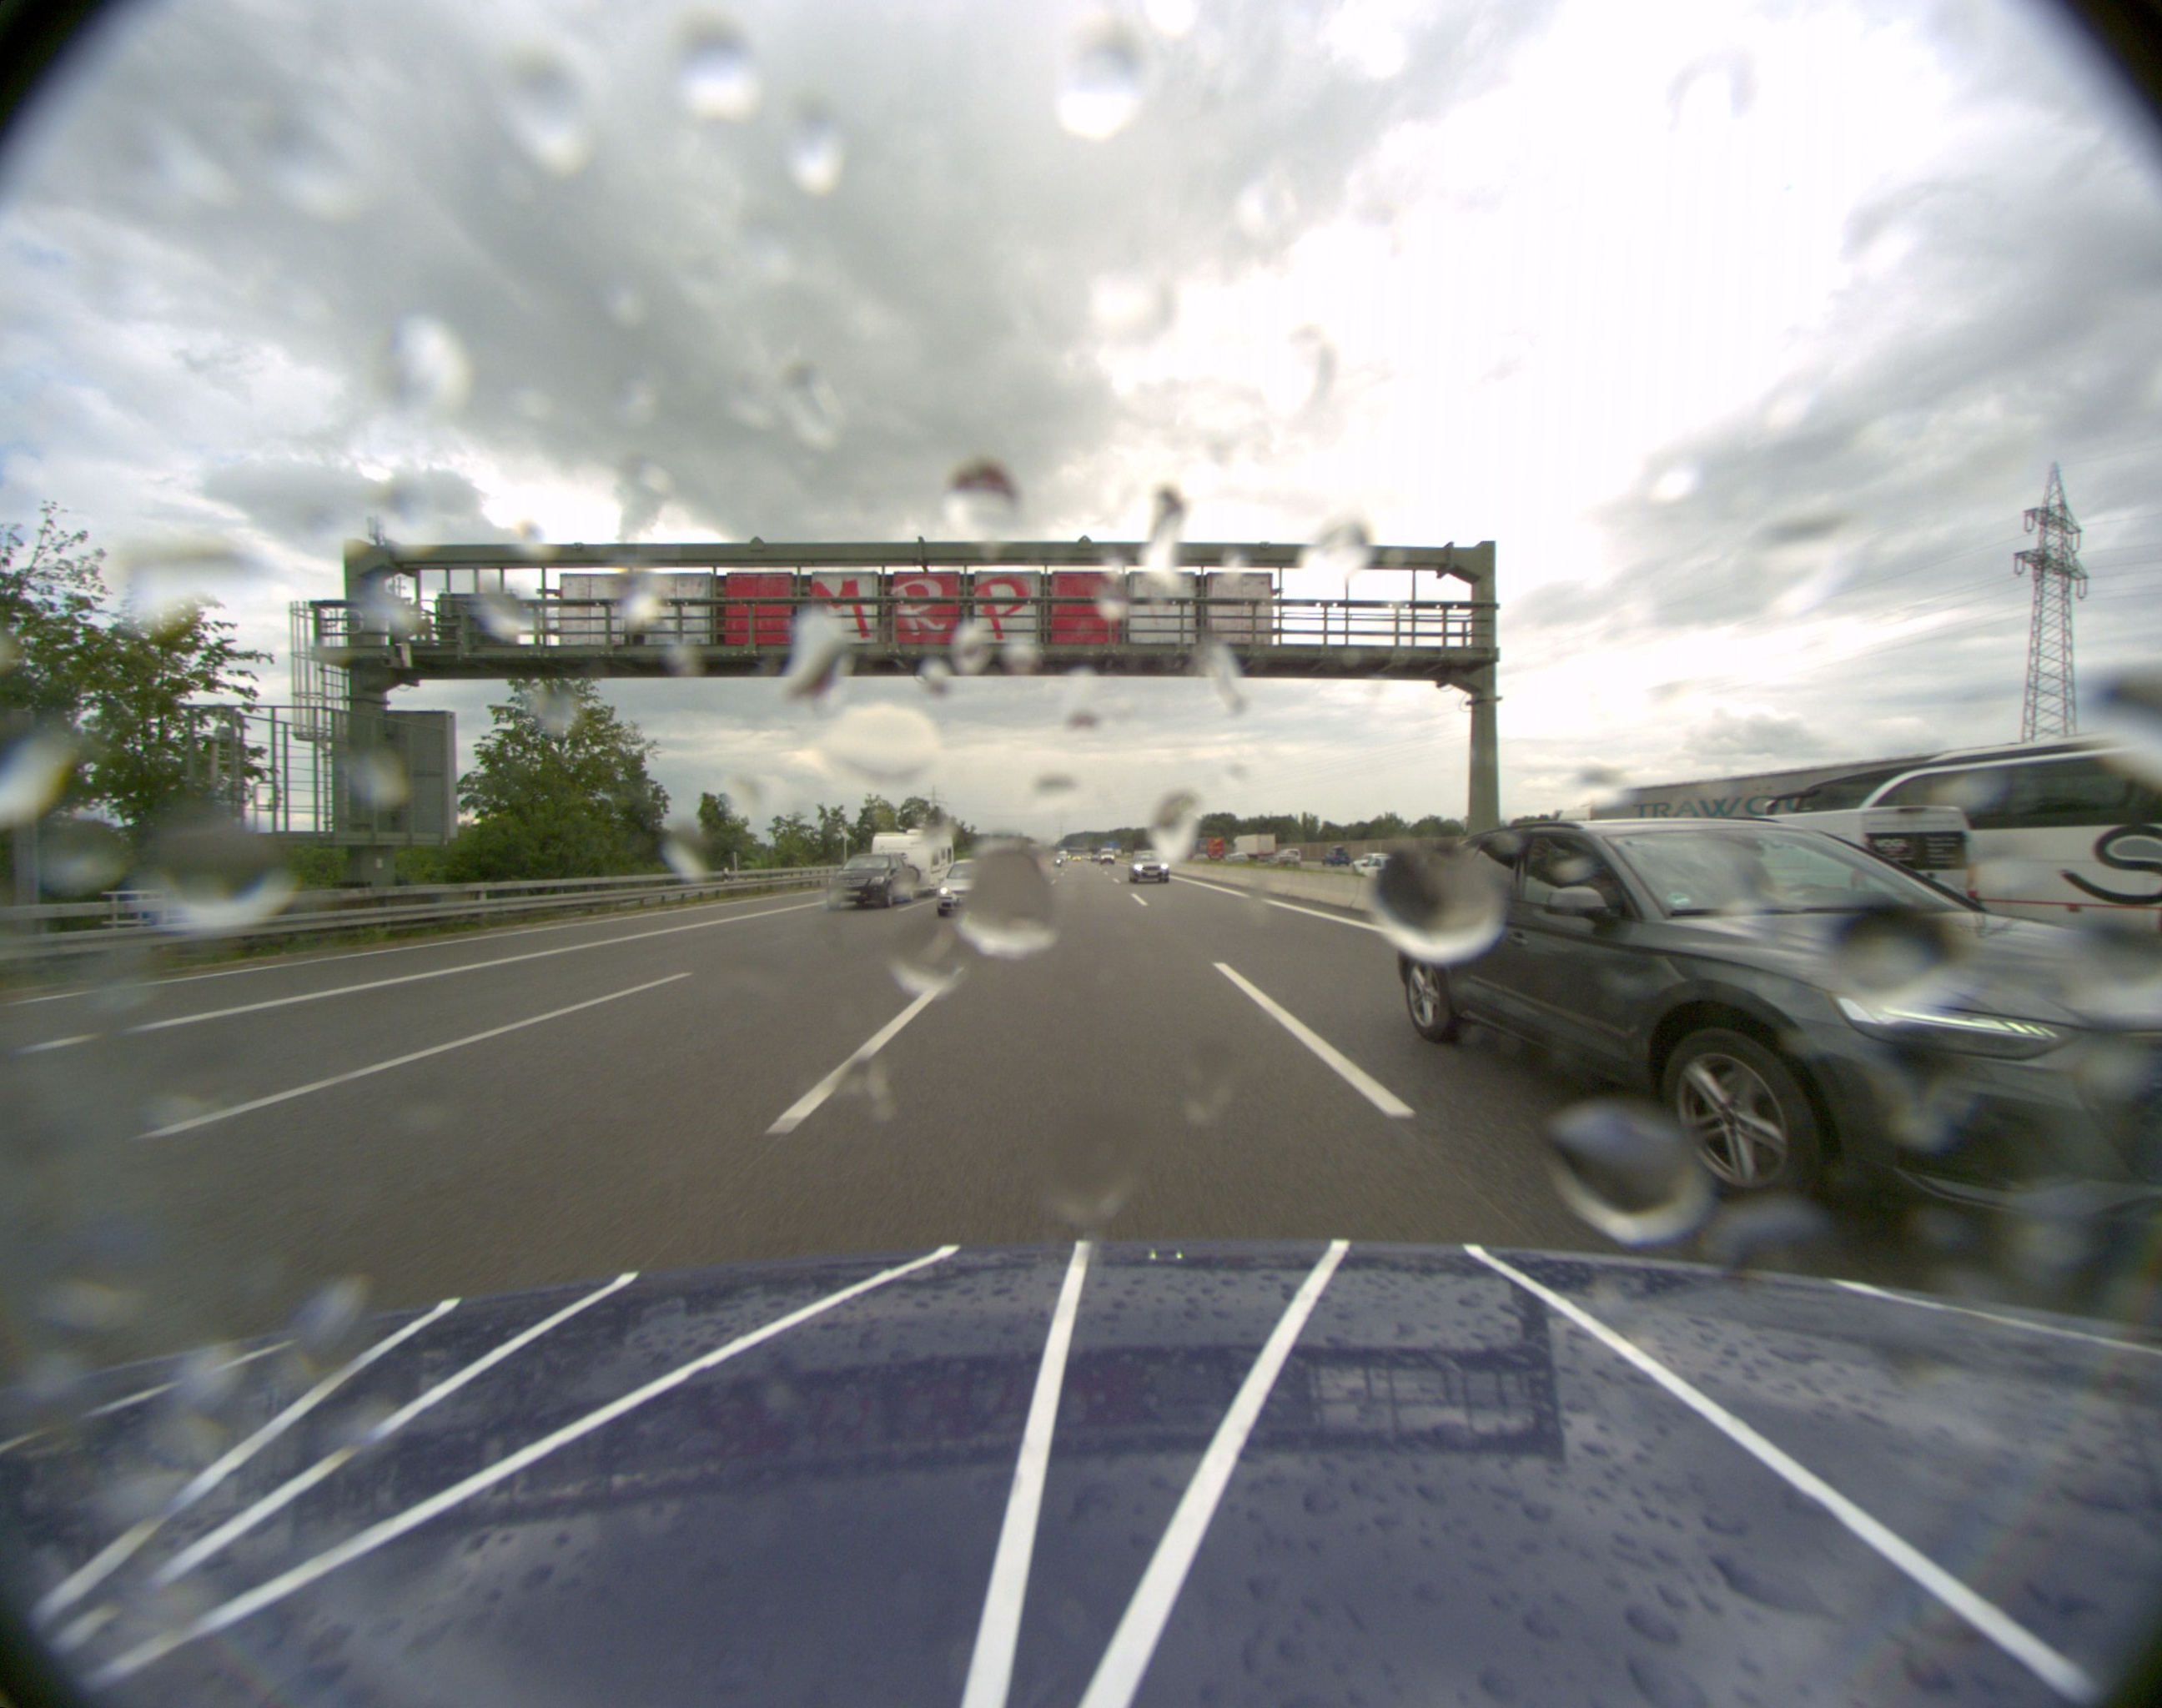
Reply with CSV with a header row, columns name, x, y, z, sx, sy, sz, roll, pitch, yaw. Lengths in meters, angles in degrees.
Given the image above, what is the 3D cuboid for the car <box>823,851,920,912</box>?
name,x,y,z,sx,sy,sz,roll,pitch,yaw
car,-6.808,0.822,25.196,1.925,1.766,4.502,-2,0,0

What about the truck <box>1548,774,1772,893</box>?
name,x,y,z,sx,sy,sz,roll,pitch,yaw
truck,21.883,-0.707,29.453,2.893,3.938,7.535,-2,0,0

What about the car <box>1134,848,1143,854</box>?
name,x,y,z,sx,sy,sz,roll,pitch,yaw
car,17.460,-0.942,230.759,2.286,1.956,6.086,-2,0,1

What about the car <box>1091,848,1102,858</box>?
name,x,y,z,sx,sy,sz,roll,pitch,yaw
car,3.200,-0.198,154.895,1.999,2.002,3.999,-2,0,-1

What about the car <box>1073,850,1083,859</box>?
name,x,y,z,sx,sy,sz,roll,pitch,yaw
car,-0.701,0.140,172.150,1.999,2.002,3.999,-2,0,-1

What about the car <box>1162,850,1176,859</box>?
name,x,y,z,sx,sy,sz,roll,pitch,yaw
car,15.092,0.047,130.047,1.792,1.524,4.564,-2,0,-1

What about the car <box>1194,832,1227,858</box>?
name,x,y,z,sx,sy,sz,roll,pitch,yaw
car,21.885,-1.423,129.445,2.990,4.100,14.393,-2,0,-1

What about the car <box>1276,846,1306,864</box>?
name,x,y,z,sx,sy,sz,roll,pitch,yaw
car,22.025,0.088,79.821,1.795,1.729,4.577,-2,0,-1

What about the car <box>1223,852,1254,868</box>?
name,x,y,z,sx,sy,sz,roll,pitch,yaw
car,14.657,0.515,71.116,1.792,1.373,4.860,-2,0,-1

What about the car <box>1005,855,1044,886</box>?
name,x,y,z,sx,sy,sz,roll,pitch,yaw
car,-2.850,0.820,39.199,1.717,1.437,3.999,-1,0,0

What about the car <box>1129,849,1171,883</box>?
name,x,y,z,sx,sy,sz,roll,pitch,yaw
car,3.551,0.589,39.772,1.840,1.615,4.915,-1,0,2

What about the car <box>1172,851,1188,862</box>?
name,x,y,z,sx,sy,sz,roll,pitch,yaw
car,13.919,0.307,106.995,1.721,1.514,4.212,-2,0,-1

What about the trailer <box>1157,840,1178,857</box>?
name,x,y,z,sx,sy,sz,roll,pitch,yaw
trailer,21.478,-1.419,190.166,3.669,4.084,13.398,-2,0,0

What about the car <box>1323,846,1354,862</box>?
name,x,y,z,sx,sy,sz,roll,pitch,yaw
car,26.913,0.002,79.600,1.792,1.588,3.955,-2,0,-1

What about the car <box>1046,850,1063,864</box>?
name,x,y,z,sx,sy,sz,roll,pitch,yaw
car,-3.358,0.377,96.807,1.999,1.701,3.999,-2,0,-1

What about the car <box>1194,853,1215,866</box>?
name,x,y,z,sx,sy,sz,roll,pitch,yaw
car,15.137,0.641,93.110,1.721,1.418,4.860,-2,0,-1

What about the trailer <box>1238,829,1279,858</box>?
name,x,y,z,sx,sy,sz,roll,pitch,yaw
trailer,26.522,-1.536,114.407,2.907,4.092,12.697,-2,0,-1

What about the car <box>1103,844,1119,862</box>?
name,x,y,z,sx,sy,sz,roll,pitch,yaw
car,4.296,-0.192,110.068,1.999,2.524,4.807,-2,0,-1

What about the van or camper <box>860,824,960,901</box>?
name,x,y,z,sx,sy,sz,roll,pitch,yaw
van or camper,-6.764,0.290,31.072,2.390,2.723,7.208,-2,0,0

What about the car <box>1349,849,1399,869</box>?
name,x,y,z,sx,sy,sz,roll,pitch,yaw
car,21.813,0.358,56.810,1.792,1.373,4.860,-2,0,-1

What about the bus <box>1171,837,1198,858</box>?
name,x,y,z,sx,sy,sz,roll,pitch,yaw
bus,18.430,-1.107,136.599,2.897,3.590,12.757,-2,0,-1

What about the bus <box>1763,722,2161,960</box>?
name,x,y,z,sx,sy,sz,roll,pitch,yaw
bus,18.019,-0.233,13.383,2.660,3.658,10.633,-1,1,1

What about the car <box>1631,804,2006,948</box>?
name,x,y,z,sx,sy,sz,roll,pitch,yaw
car,14.484,0.360,15.642,2.142,2.338,5.710,-2,0,0

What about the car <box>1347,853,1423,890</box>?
name,x,y,z,sx,sy,sz,roll,pitch,yaw
car,14.072,0.778,35.449,1.741,1.530,4.376,-2,0,-1

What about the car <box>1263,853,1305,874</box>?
name,x,y,z,sx,sy,sz,roll,pitch,yaw
car,14.716,0.635,55.317,1.792,1.373,4.589,-2,0,-1

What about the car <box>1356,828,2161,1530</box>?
name,x,y,z,sx,sy,sz,roll,pitch,yaw
car,3.488,0.754,4.403,1.913,1.681,5.168,-1,0,0

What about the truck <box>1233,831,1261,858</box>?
name,x,y,z,sx,sy,sz,roll,pitch,yaw
truck,26.466,-1.560,121.487,2.908,4.092,6.621,-2,0,-1

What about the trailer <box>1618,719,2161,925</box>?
name,x,y,z,sx,sy,sz,roll,pitch,yaw
trailer,21.858,-0.675,21.725,2.893,3.938,14.297,-2,0,0

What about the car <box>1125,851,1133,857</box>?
name,x,y,z,sx,sy,sz,roll,pitch,yaw
car,13.694,-0.038,216.328,1.792,1.446,4.564,-2,0,-1

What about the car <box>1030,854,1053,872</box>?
name,x,y,z,sx,sy,sz,roll,pitch,yaw
car,-3.540,0.789,68.224,1.841,1.437,3.999,-1,0,0

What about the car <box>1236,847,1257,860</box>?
name,x,y,z,sx,sy,sz,roll,pitch,yaw
car,22.653,-0.058,104.069,1.792,1.582,4.581,-2,0,-1

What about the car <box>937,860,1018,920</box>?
name,x,y,z,sx,sy,sz,roll,pitch,yaw
car,-2.776,0.922,21.181,1.683,1.437,3.999,-1,0,0

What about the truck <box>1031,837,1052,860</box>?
name,x,y,z,sx,sy,sz,roll,pitch,yaw
truck,-6.460,-0.895,125.275,2.870,3.633,9.593,-2,0,0

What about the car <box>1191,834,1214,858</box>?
name,x,y,z,sx,sy,sz,roll,pitch,yaw
car,21.811,-1.466,136.771,2.990,4.126,6.041,-2,0,-1
